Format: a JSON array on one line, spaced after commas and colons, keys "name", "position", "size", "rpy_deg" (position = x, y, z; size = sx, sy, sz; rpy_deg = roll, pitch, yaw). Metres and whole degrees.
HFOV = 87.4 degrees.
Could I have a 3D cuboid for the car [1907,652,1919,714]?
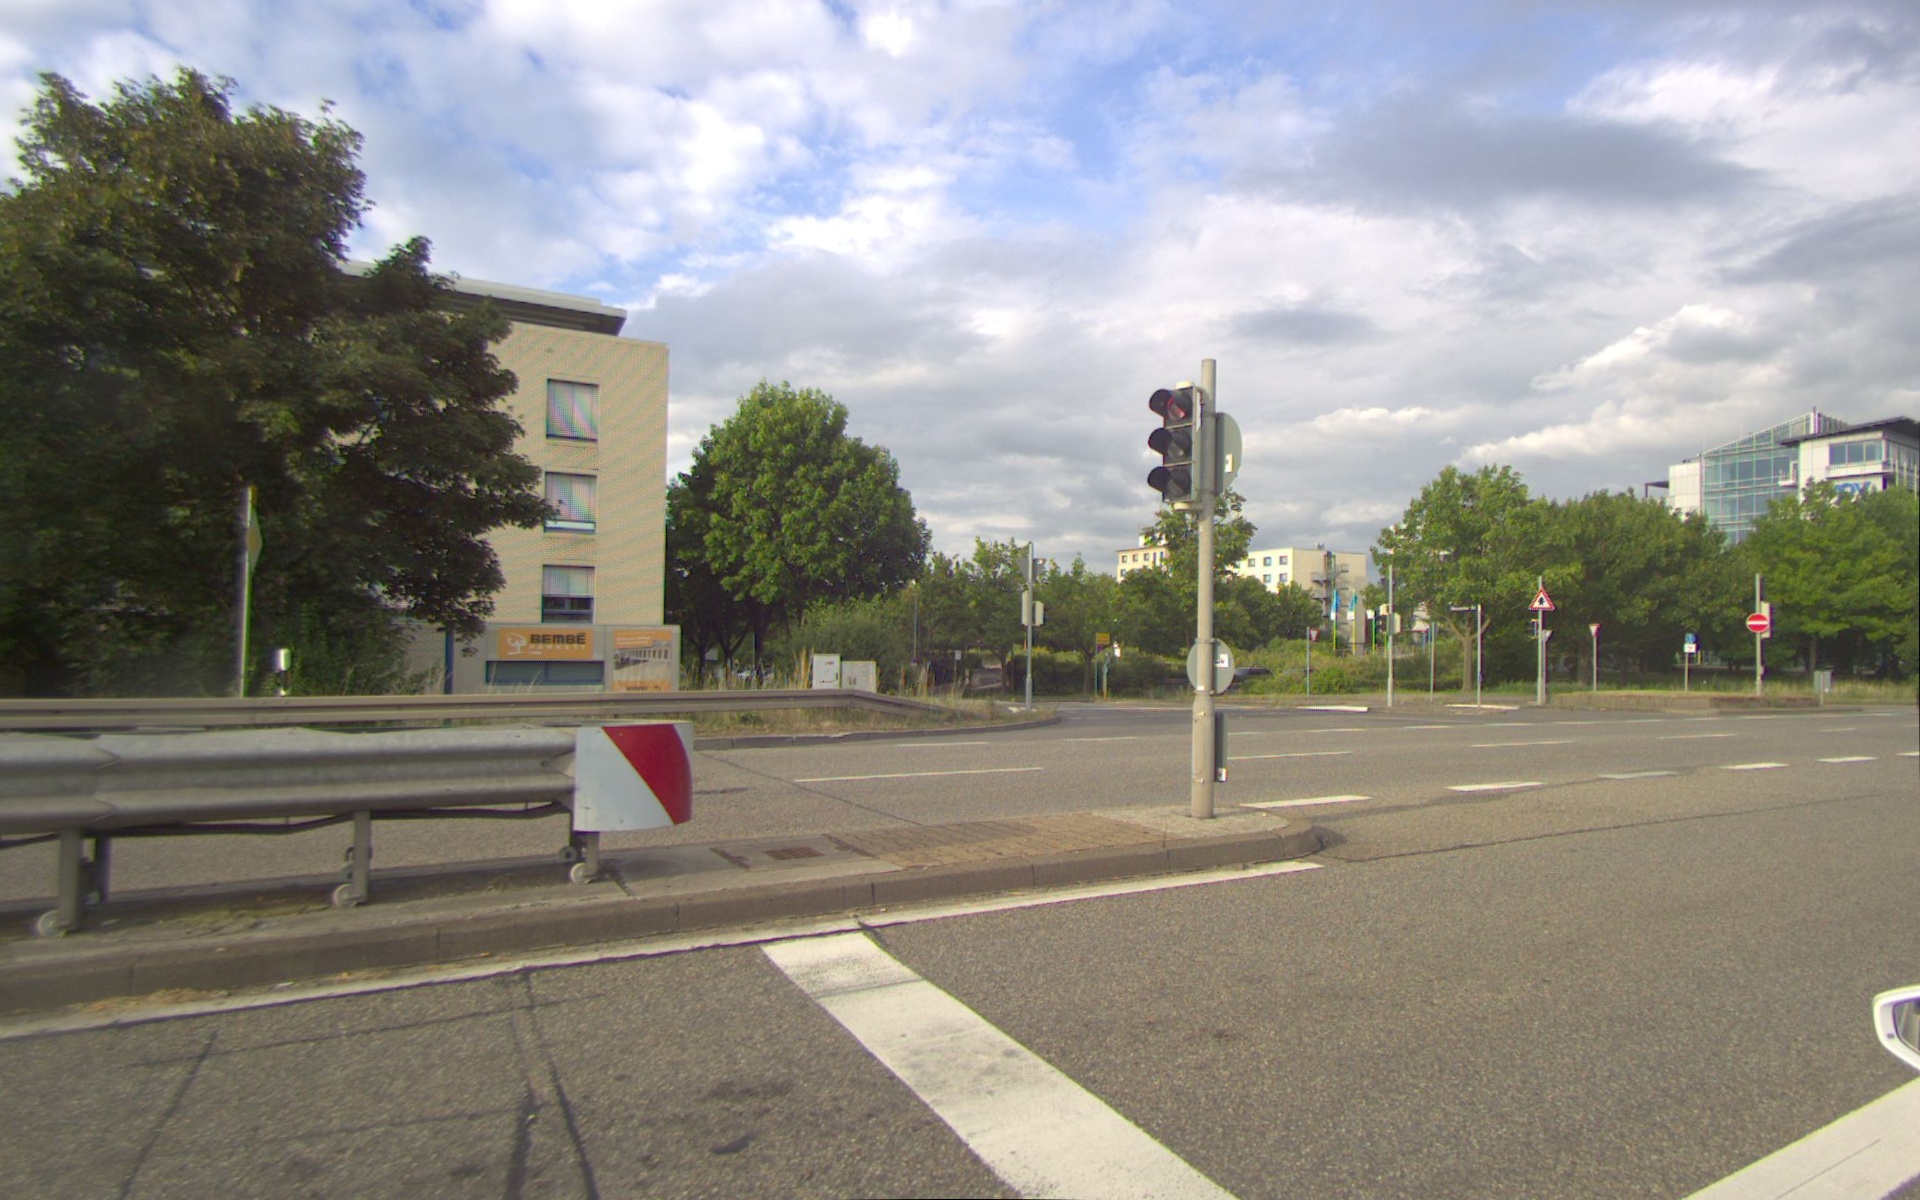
[{"name": "car", "position": [33.591, 2.775, 33.265], "size": [5.033, 2.016, 1.925], "rpy_deg": [3, -3, -31]}]
